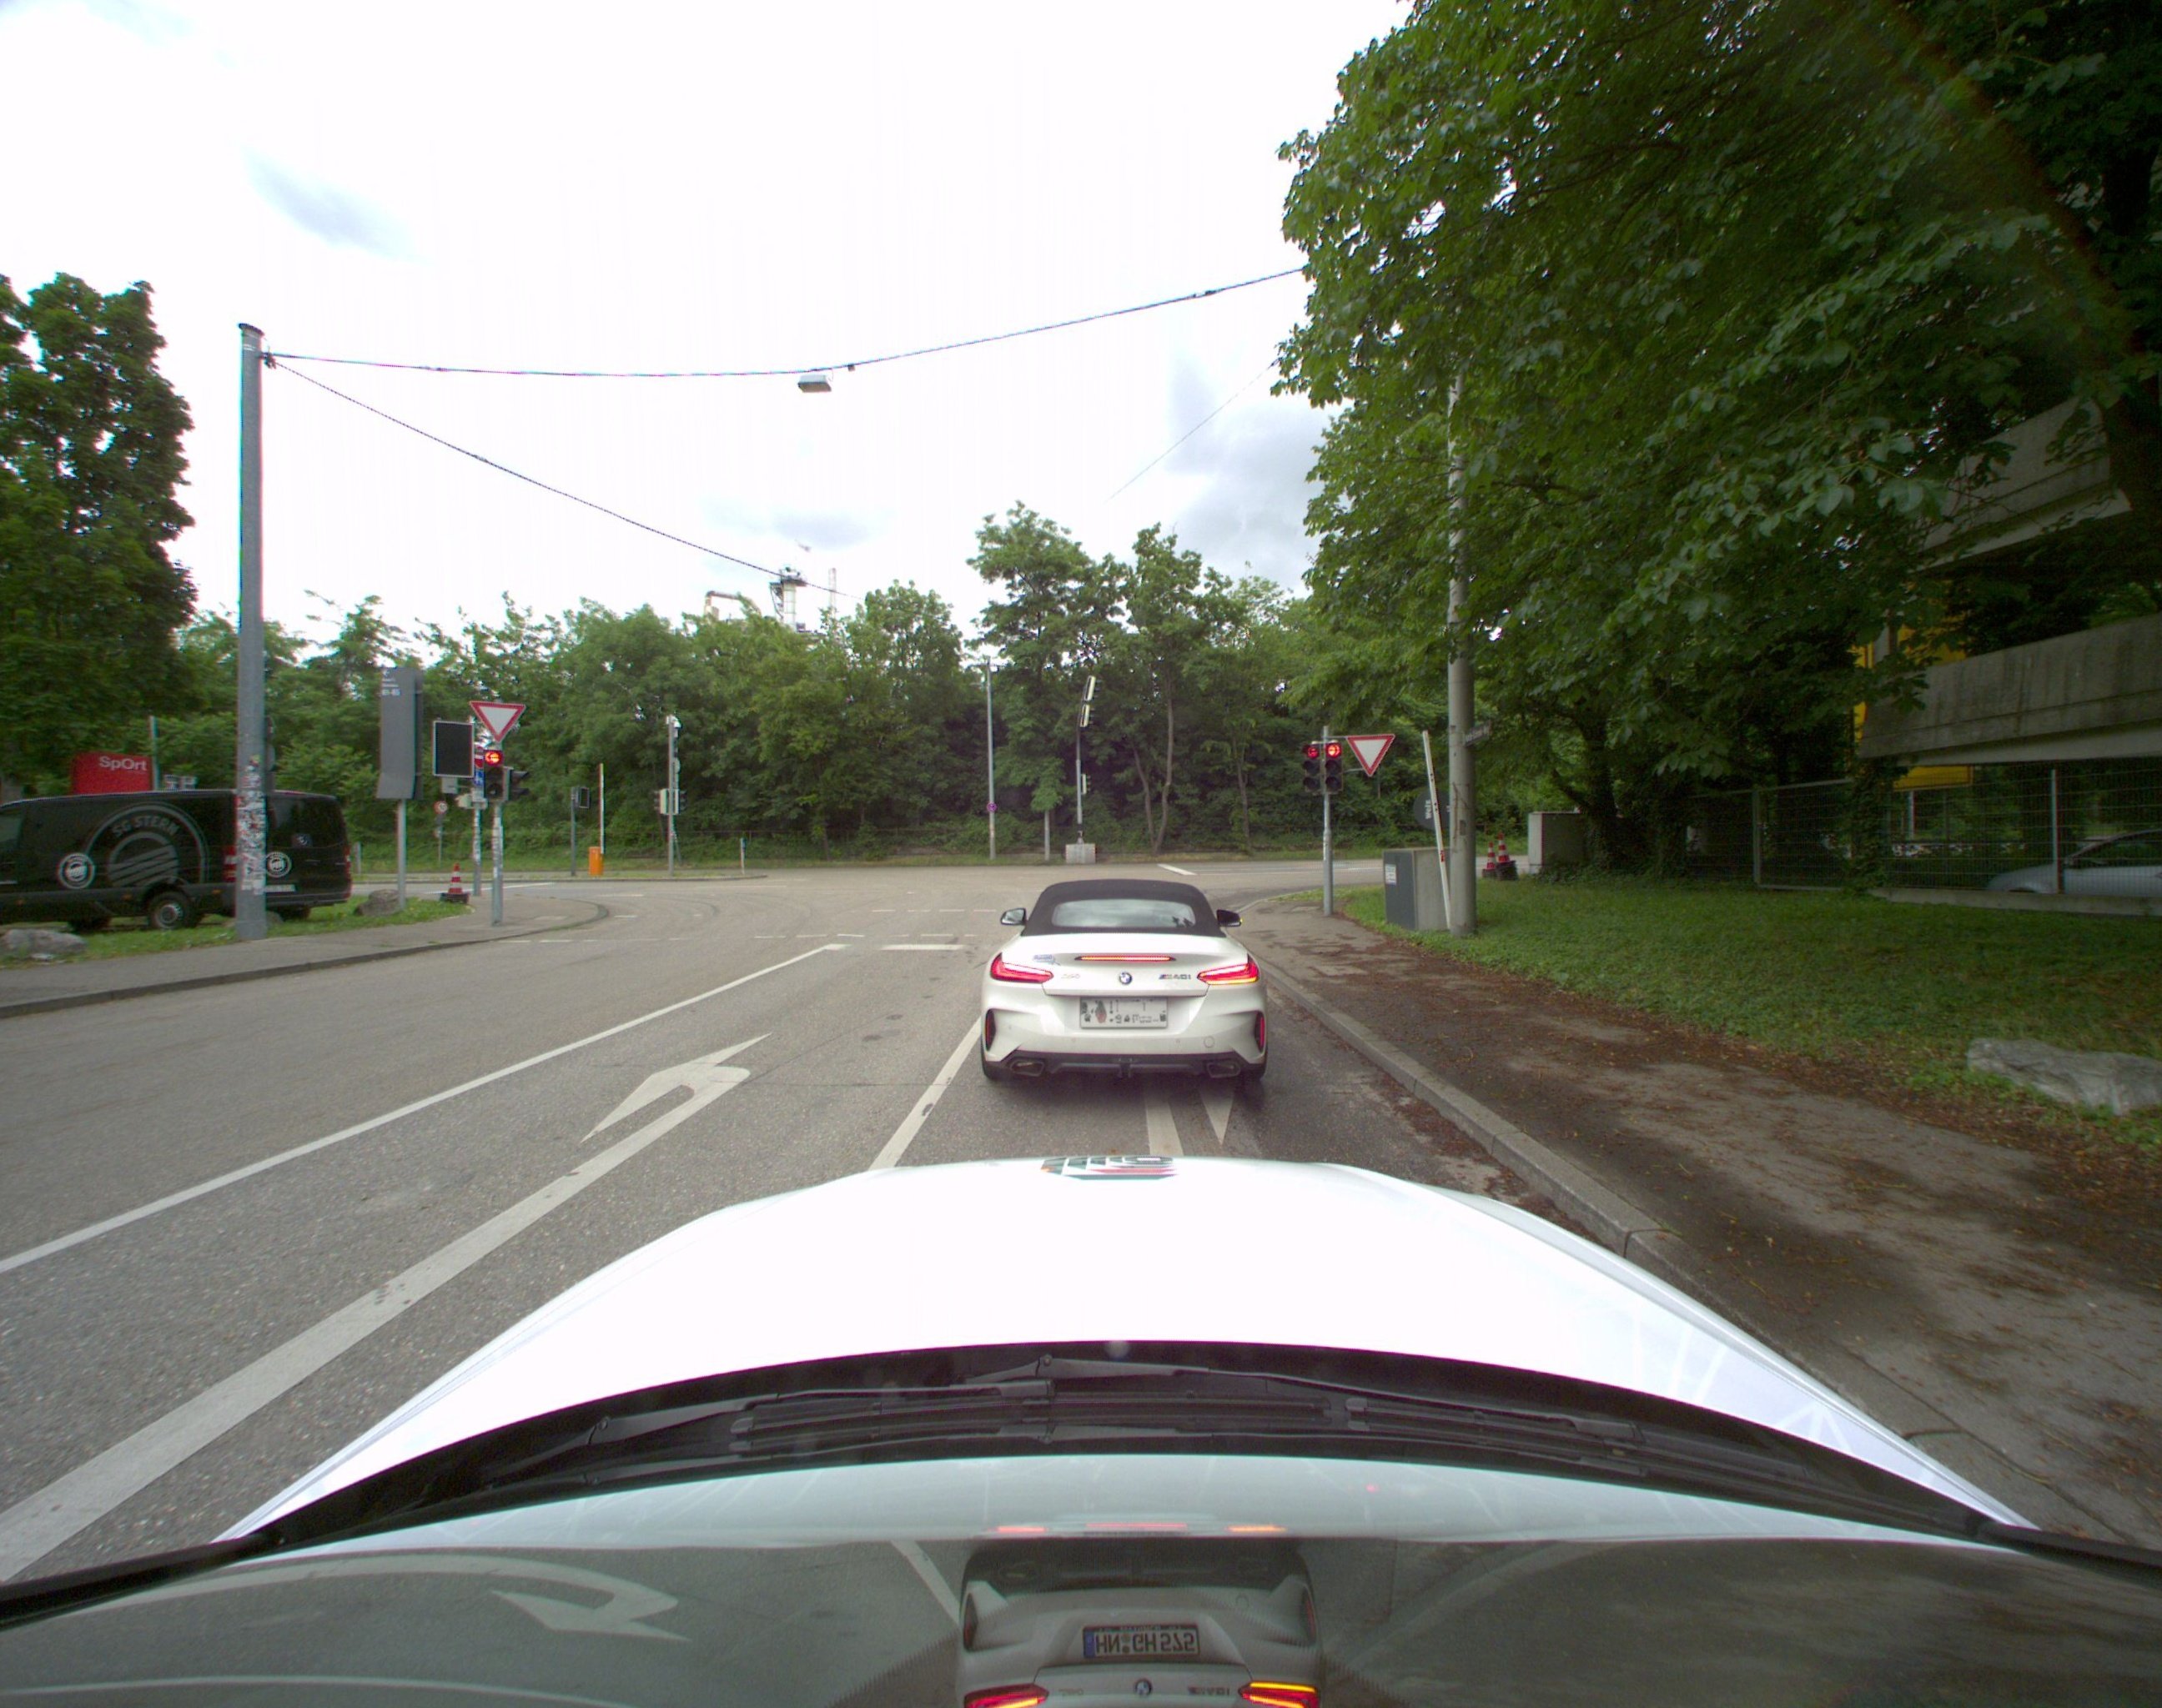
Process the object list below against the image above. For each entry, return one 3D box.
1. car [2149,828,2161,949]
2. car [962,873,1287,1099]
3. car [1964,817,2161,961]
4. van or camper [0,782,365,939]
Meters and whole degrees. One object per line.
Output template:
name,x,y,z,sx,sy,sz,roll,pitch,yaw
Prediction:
car,16.012,0.454,9.735,1.574,1.708,3.770,0,-1,2
car,0.248,0.792,6.578,1.822,1.257,3.998,0,-1,0
car,13.619,0.427,10.042,1.475,1.708,3.720,0,-1,2
van or camper,-15.885,0.160,13.941,5.513,2.314,2.063,-2,-2,2
